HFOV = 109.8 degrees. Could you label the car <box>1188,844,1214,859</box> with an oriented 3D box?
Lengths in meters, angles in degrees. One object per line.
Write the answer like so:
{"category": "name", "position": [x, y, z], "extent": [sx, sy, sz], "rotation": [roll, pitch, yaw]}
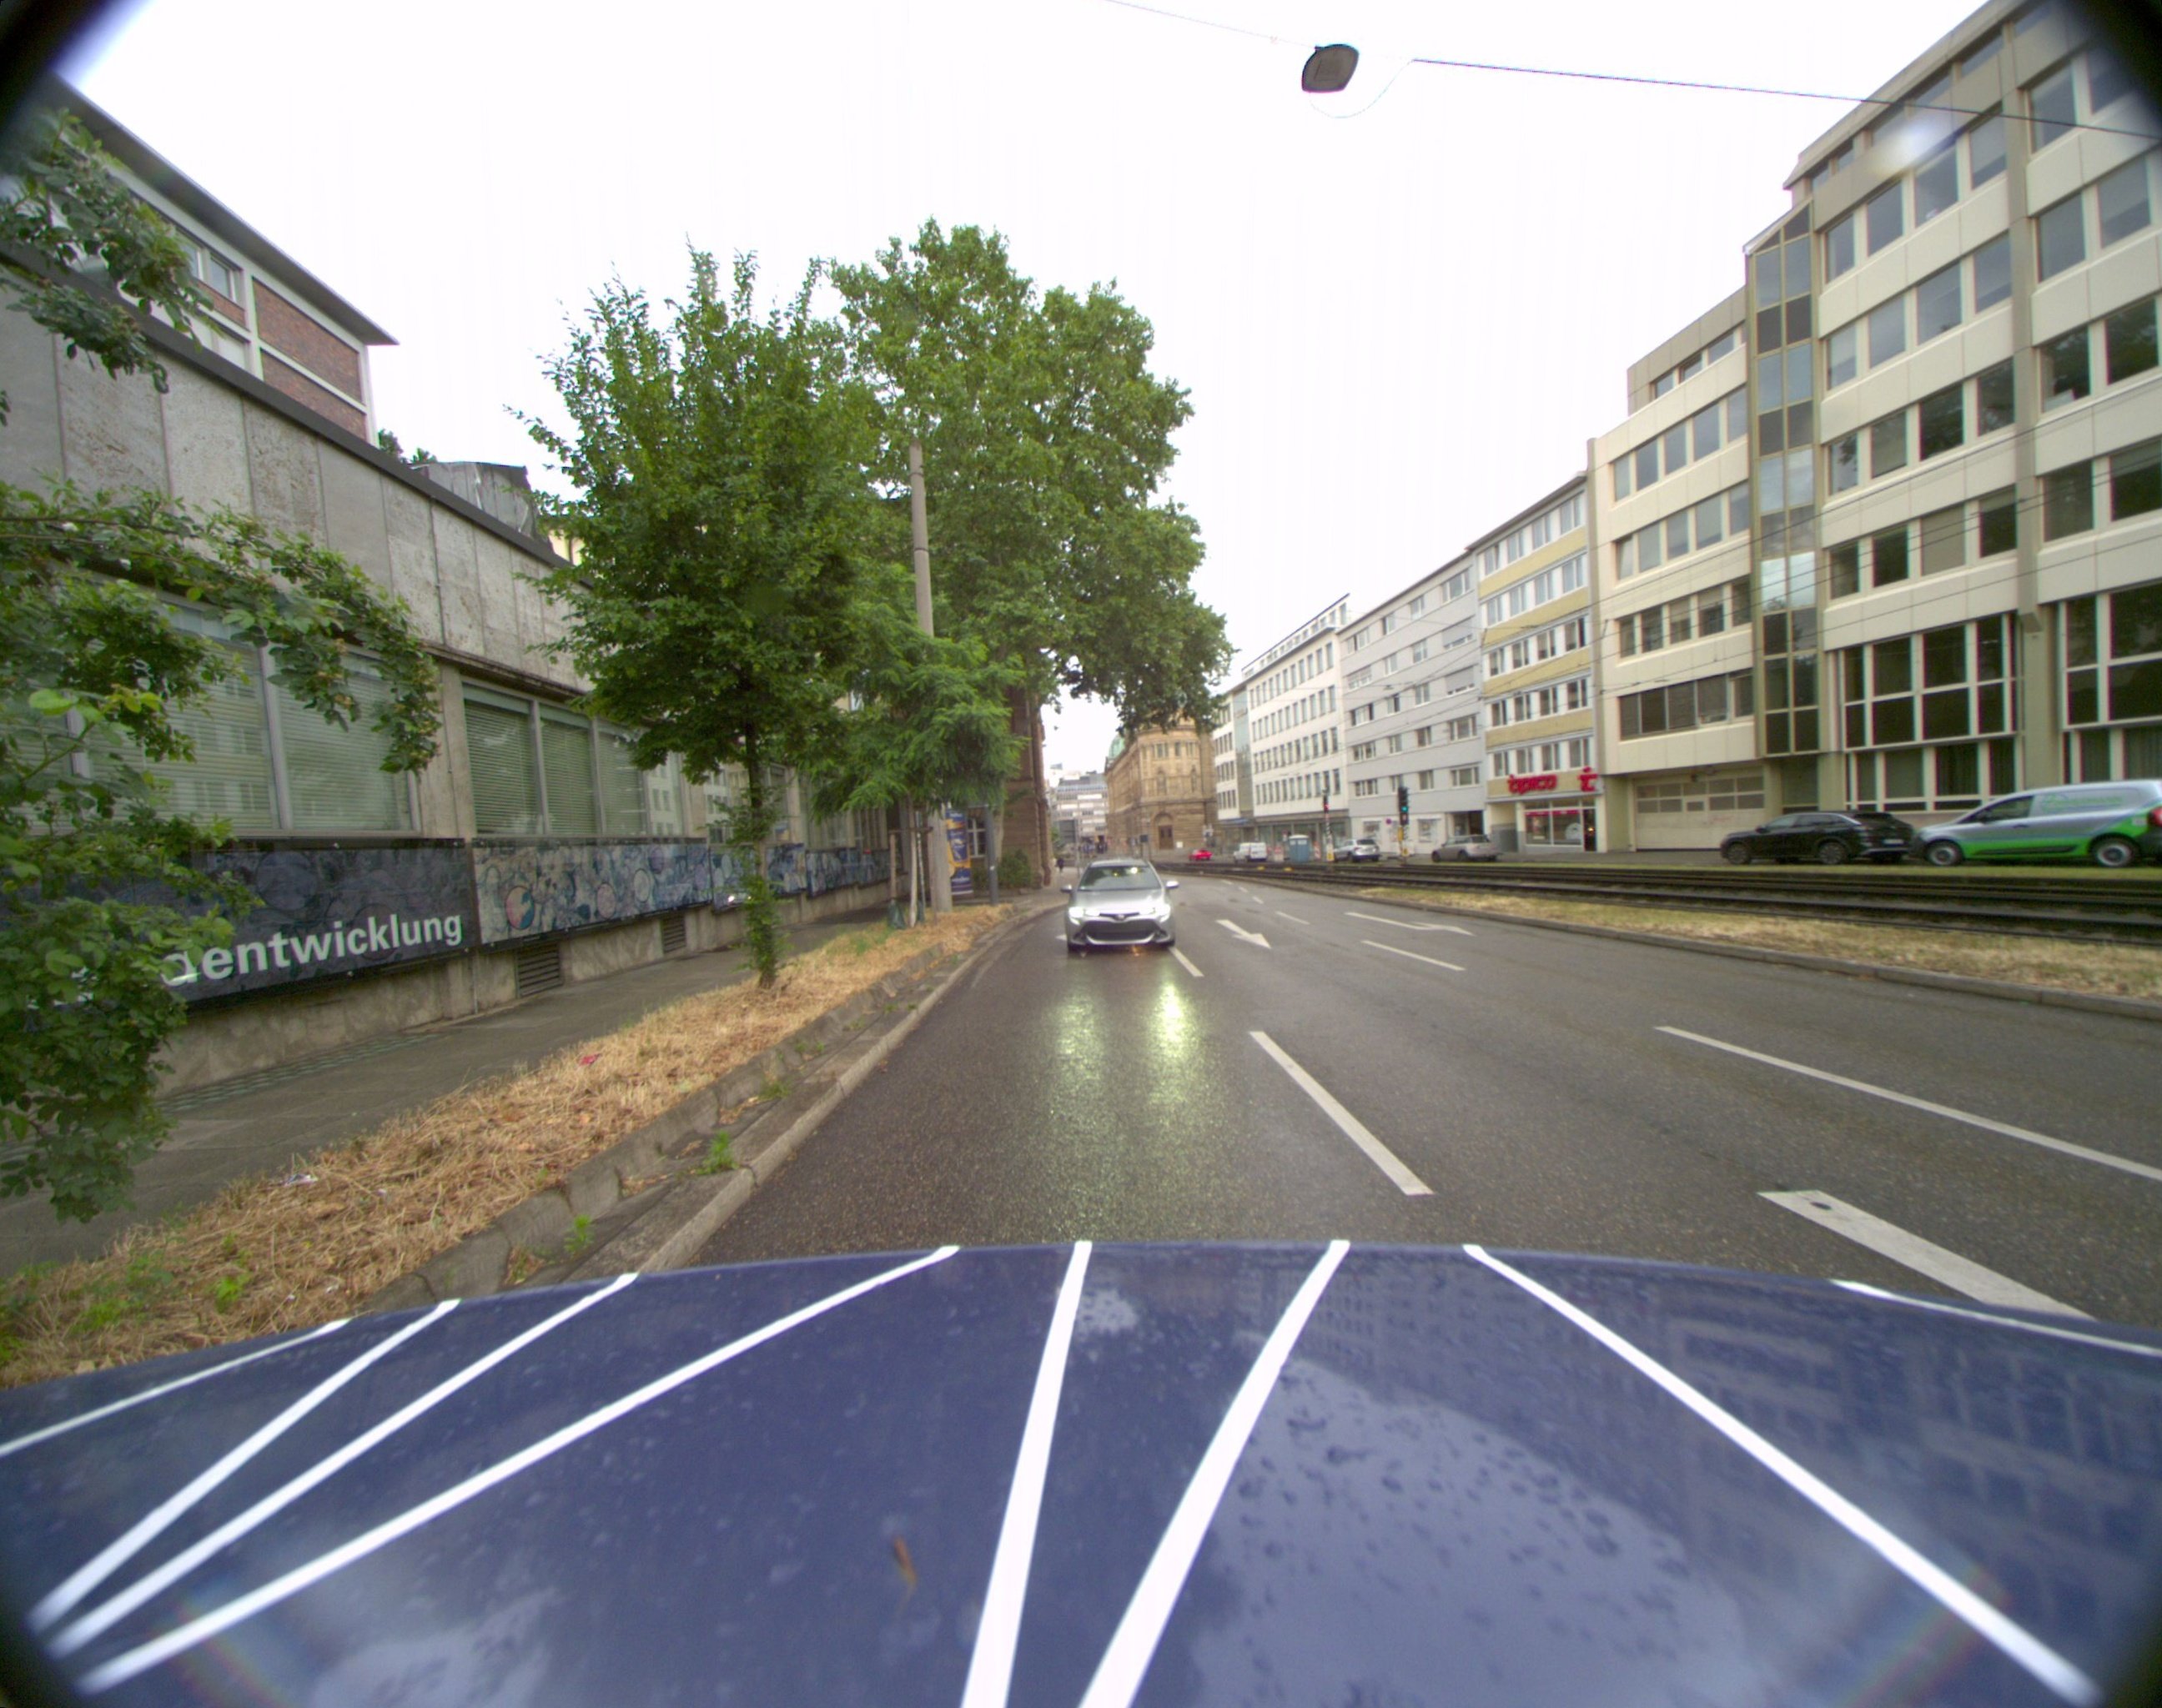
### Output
{"category": "car", "position": [14.539, -0.348, 92.115], "extent": [1.890, 1.615, 4.474], "rotation": [-5, 1, -7]}

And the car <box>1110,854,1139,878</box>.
{"category": "car", "position": [2.723, 0.737, 48.279], "extent": [1.654, 1.426, 3.439], "rotation": [-2, 1, 0]}

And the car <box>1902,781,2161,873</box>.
{"category": "car", "position": [21.500, -0.574, 16.815], "extent": [1.801, 1.736, 4.213], "rotation": [-5, 1, -8]}

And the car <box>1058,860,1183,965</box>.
{"category": "car", "position": [0.610, 0.901, 13.534], "extent": [1.811, 1.426, 4.297], "rotation": [-2, 1, 0]}

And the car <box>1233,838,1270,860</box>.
{"category": "car", "position": [16.318, -0.485, 72.959], "extent": [1.890, 1.924, 4.474], "rotation": [-5, 1, -7]}

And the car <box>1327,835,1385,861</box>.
{"category": "car", "position": [18.162, -0.407, 50.457], "extent": [1.890, 1.505, 4.075], "rotation": [-5, 1, -7]}

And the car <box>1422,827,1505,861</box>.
{"category": "car", "position": [19.486, -0.485, 38.912], "extent": [1.801, 1.505, 4.075], "rotation": [-5, 1, -7]}

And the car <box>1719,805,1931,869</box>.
{"category": "car", "position": [21.062, -0.458, 21.777], "extent": [1.801, 1.505, 4.075], "rotation": [-5, 1, -7]}

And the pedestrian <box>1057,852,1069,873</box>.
{"category": "pedestrian", "position": [-1.528, 0.710, 63.106], "extent": [0.719, 1.630, 0.760], "rotation": [-5, 2, 10]}

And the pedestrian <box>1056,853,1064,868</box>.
{"category": "pedestrian", "position": [-2.460, 0.732, 88.075], "extent": [0.719, 1.630, 0.760], "rotation": [-5, 2, 1]}
